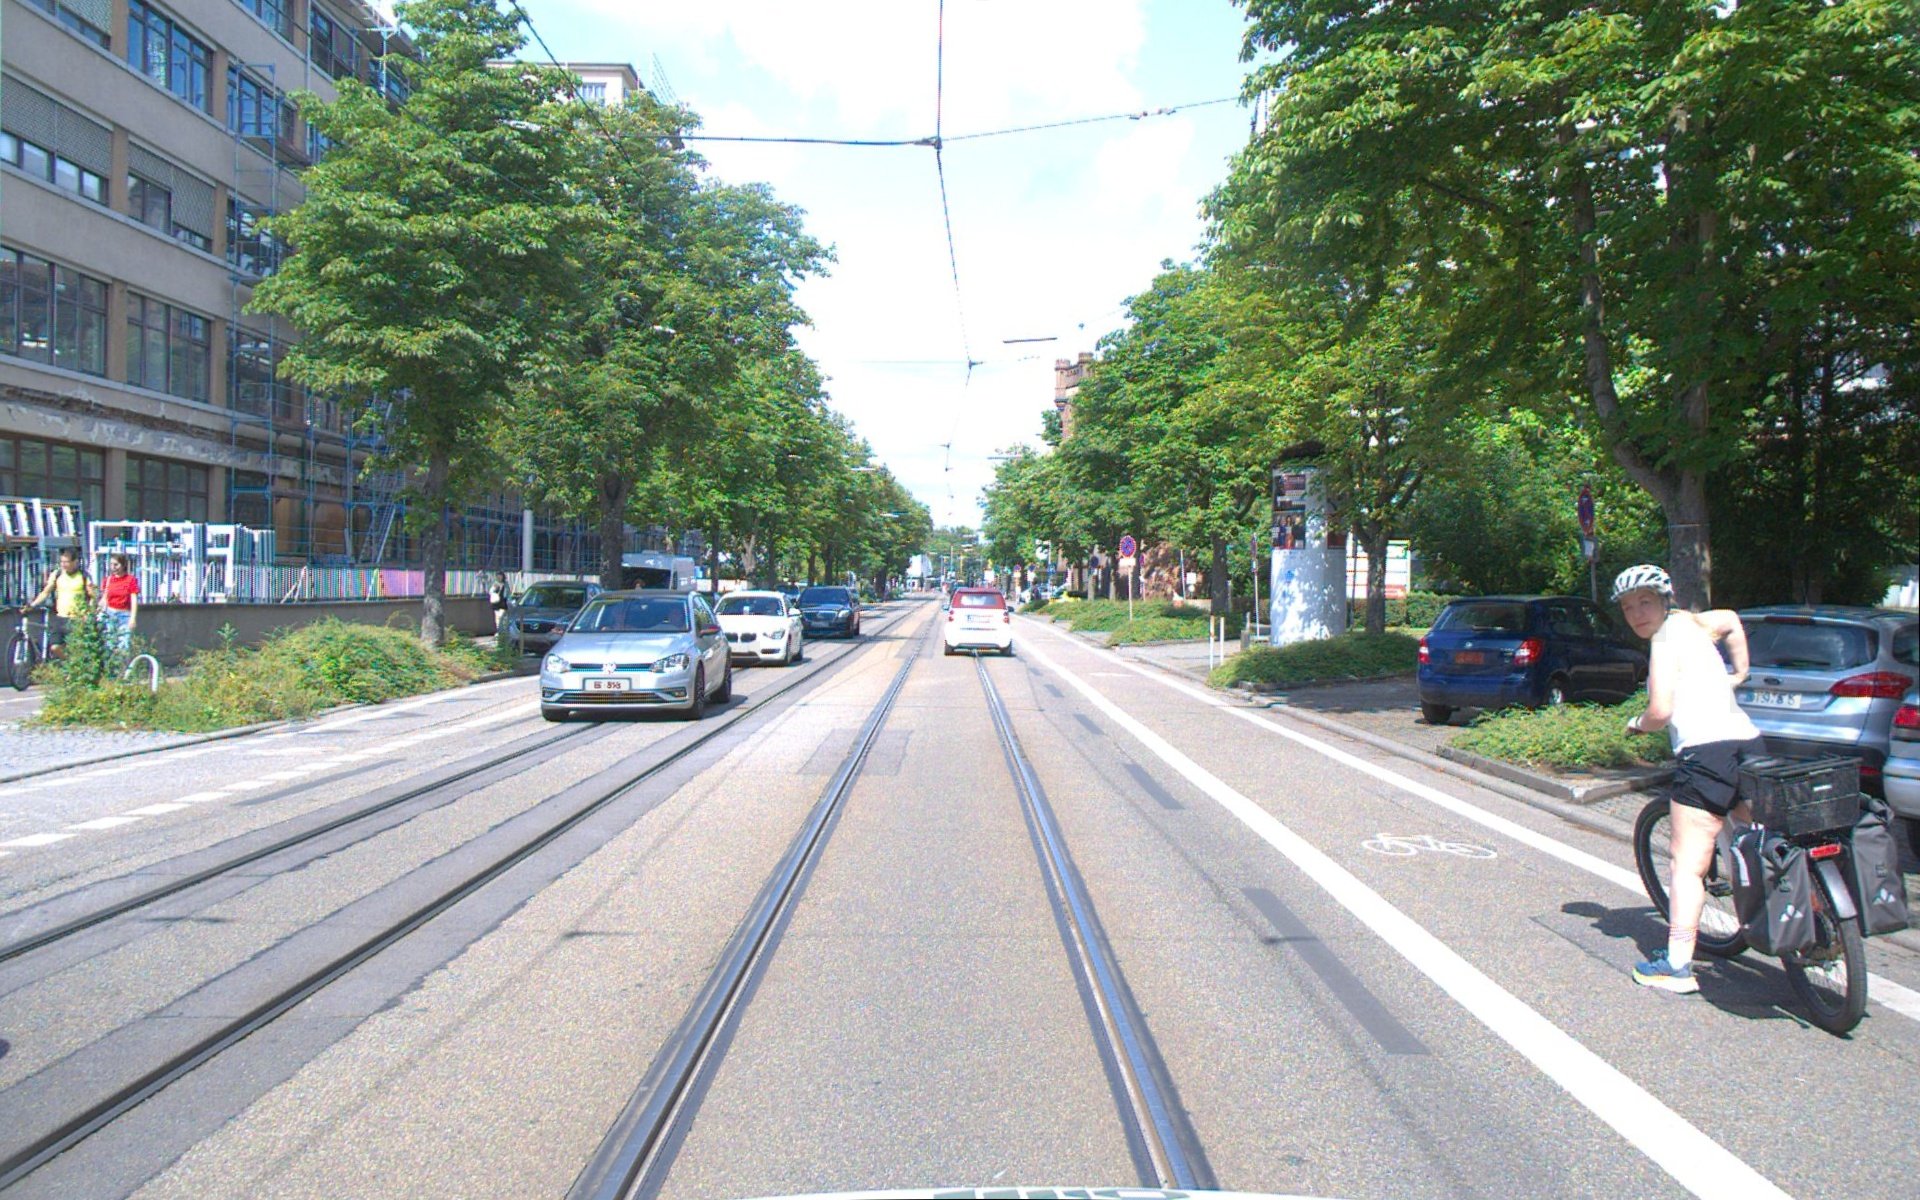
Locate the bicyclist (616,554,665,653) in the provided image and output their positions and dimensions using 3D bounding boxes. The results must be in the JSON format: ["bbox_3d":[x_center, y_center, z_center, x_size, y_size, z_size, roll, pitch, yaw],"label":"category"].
[{"bbox_3d":[-6.751,0.082,34.962,0.859,2.049,0.833,-1,-1,-2],"label":"bicyclist"}]

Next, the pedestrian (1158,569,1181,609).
[{"bbox_3d":[11.044,-0.569,87.144,0.957,2.049,1.093,2,0,-2],"label":"pedestrian"}]

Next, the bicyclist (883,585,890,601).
[{"bbox_3d":[-7.204,-0.694,162.044,0.645,1.607,0.945,2,0,-2],"label":"bicyclist"}]

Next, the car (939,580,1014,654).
[{"bbox_3d":[0.351,0.358,39.129,1.632,1.653,3.619,0,1,-2],"label":"car"}]

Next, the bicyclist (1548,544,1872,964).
[{"bbox_3d":[3.036,0.579,6.819,0.871,1.555,1.086,2,0,5],"label":"bicyclist"}]

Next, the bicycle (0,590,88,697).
[{"bbox_3d":[-11.842,0.527,21.130,0.437,1.309,1.739,1,0,2],"label":"bicycle"}]

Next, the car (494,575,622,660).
[{"bbox_3d":[-8.699,0.353,36.097,1.768,1.691,4.102,2,0,0],"label":"car"}]

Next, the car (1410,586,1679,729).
[{"bbox_3d":[7.091,0.614,19.874,1.588,1.512,3.974,0,1,43],"label":"car"}]

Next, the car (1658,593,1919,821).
[{"bbox_3d":[7.227,0.751,13.162,3.773,1.500,1.628,1,1,-42],"label":"car"}]

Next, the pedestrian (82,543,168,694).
[{"bbox_3d":[-10.700,0.225,21.212,0.694,1.863,0.661,4,1,-6],"label":"pedestrian"}]

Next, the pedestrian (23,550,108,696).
[{"bbox_3d":[-11.404,0.289,21.112,0.694,1.824,0.661,2,0,-6],"label":"pedestrian"}]

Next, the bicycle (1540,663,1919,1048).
[{"bbox_3d":[3.076,0.909,6.680,0.856,1.145,2.138,2,1,5],"label":"bicycle"}]

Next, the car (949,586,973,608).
[{"bbox_3d":[0.076,-0.213,120.230,1.631,1.518,3.620,1,1,-1],"label":"car"}]

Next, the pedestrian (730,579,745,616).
[{"bbox_3d":[-12.227,-0.142,91.035,0.788,2.049,0.484,1,0,-10],"label":"pedestrian"}]

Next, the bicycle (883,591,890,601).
[{"bbox_3d":[-7.198,-0.392,162.194,0.605,0.990,1.717,1,0,1],"label":"bicycle"}]

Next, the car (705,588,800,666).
[{"bbox_3d":[-4.030,0.498,32.634,1.653,1.430,4.223,0,0,-4],"label":"car"}]

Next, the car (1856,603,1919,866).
[{"bbox_3d":[7.261,0.773,10.051,4.201,1.444,1.700,0,2,-39],"label":"car"}]

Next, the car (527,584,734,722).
[{"bbox_3d":[-3.792,0.560,19.644,1.737,1.441,3.851,-1,0,-1],"label":"car"}]

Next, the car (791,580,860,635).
[{"bbox_3d":[-3.989,0.218,49.709,1.764,1.534,4.535,1,0,-1],"label":"car"}]

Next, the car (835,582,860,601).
[{"bbox_3d":[-9.188,-0.689,135.273,1.768,1.543,4.102,1,0,0],"label":"car"}]

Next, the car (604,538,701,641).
[{"bbox_3d":[-8.609,-0.289,46.771,1.733,2.685,5.321,2,0,-1],"label":"car"}]

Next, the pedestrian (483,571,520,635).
[{"bbox_3d":[-12.108,0.088,43.692,0.749,1.648,0.594,2,0,-1],"label":"pedestrian"}]
